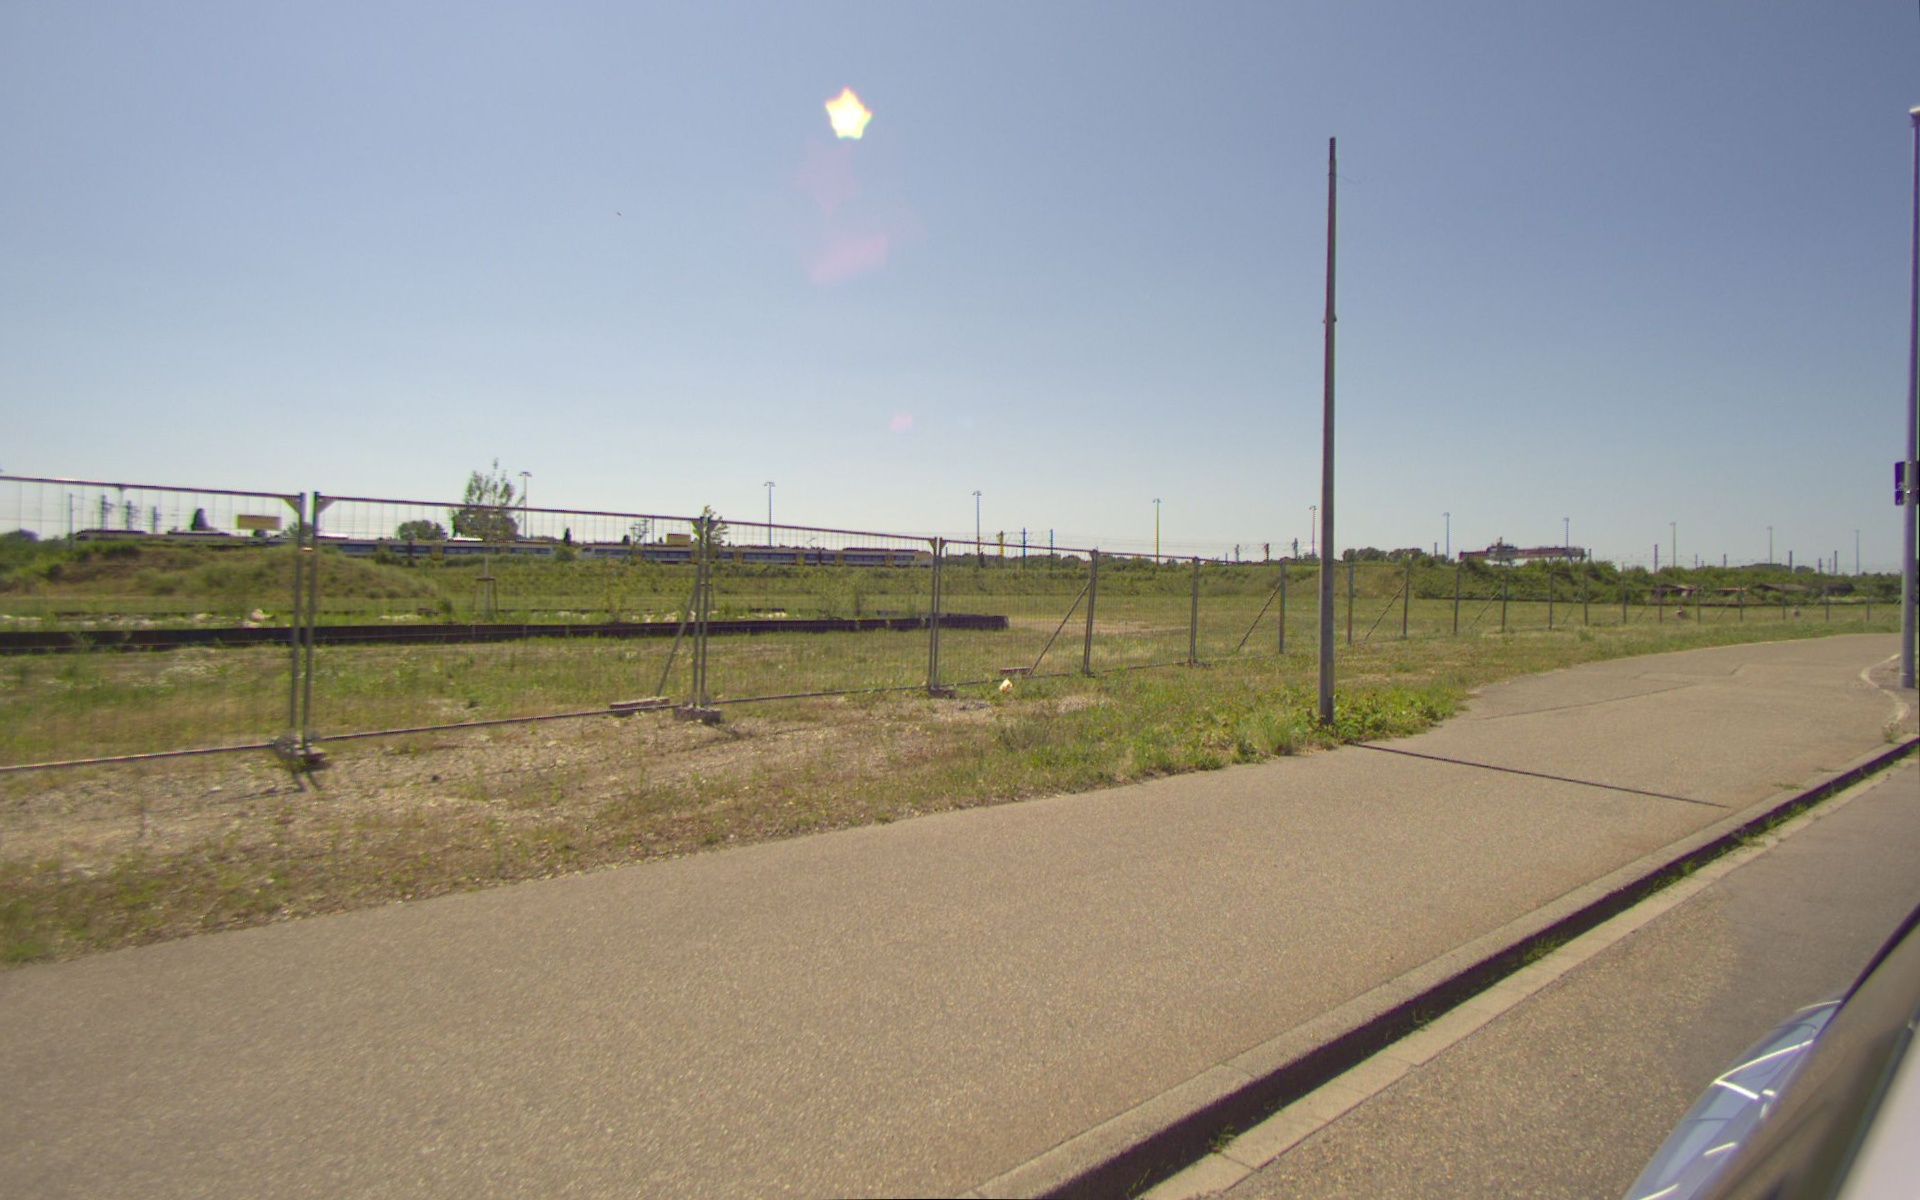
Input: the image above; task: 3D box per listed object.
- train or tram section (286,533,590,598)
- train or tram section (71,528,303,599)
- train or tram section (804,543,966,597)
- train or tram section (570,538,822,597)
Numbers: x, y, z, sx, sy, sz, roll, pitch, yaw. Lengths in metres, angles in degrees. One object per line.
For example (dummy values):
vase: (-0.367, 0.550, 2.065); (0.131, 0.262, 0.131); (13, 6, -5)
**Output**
train or tram section: (-85.427, -5.365, 168.763); (43.856, 10.051, 9.617); (0, 0, -25)
train or tram section: (-116.834, -5.269, 154.405); (26.442, 10.051, 9.618); (0, 0, -24)
train or tram section: (-14.751, -5.745, 200.913); (30.565, 10.051, 9.618); (0, 0, -24)
train or tram section: (-47.942, -5.587, 185.896); (43.856, 10.051, 9.617); (0, 0, -25)
